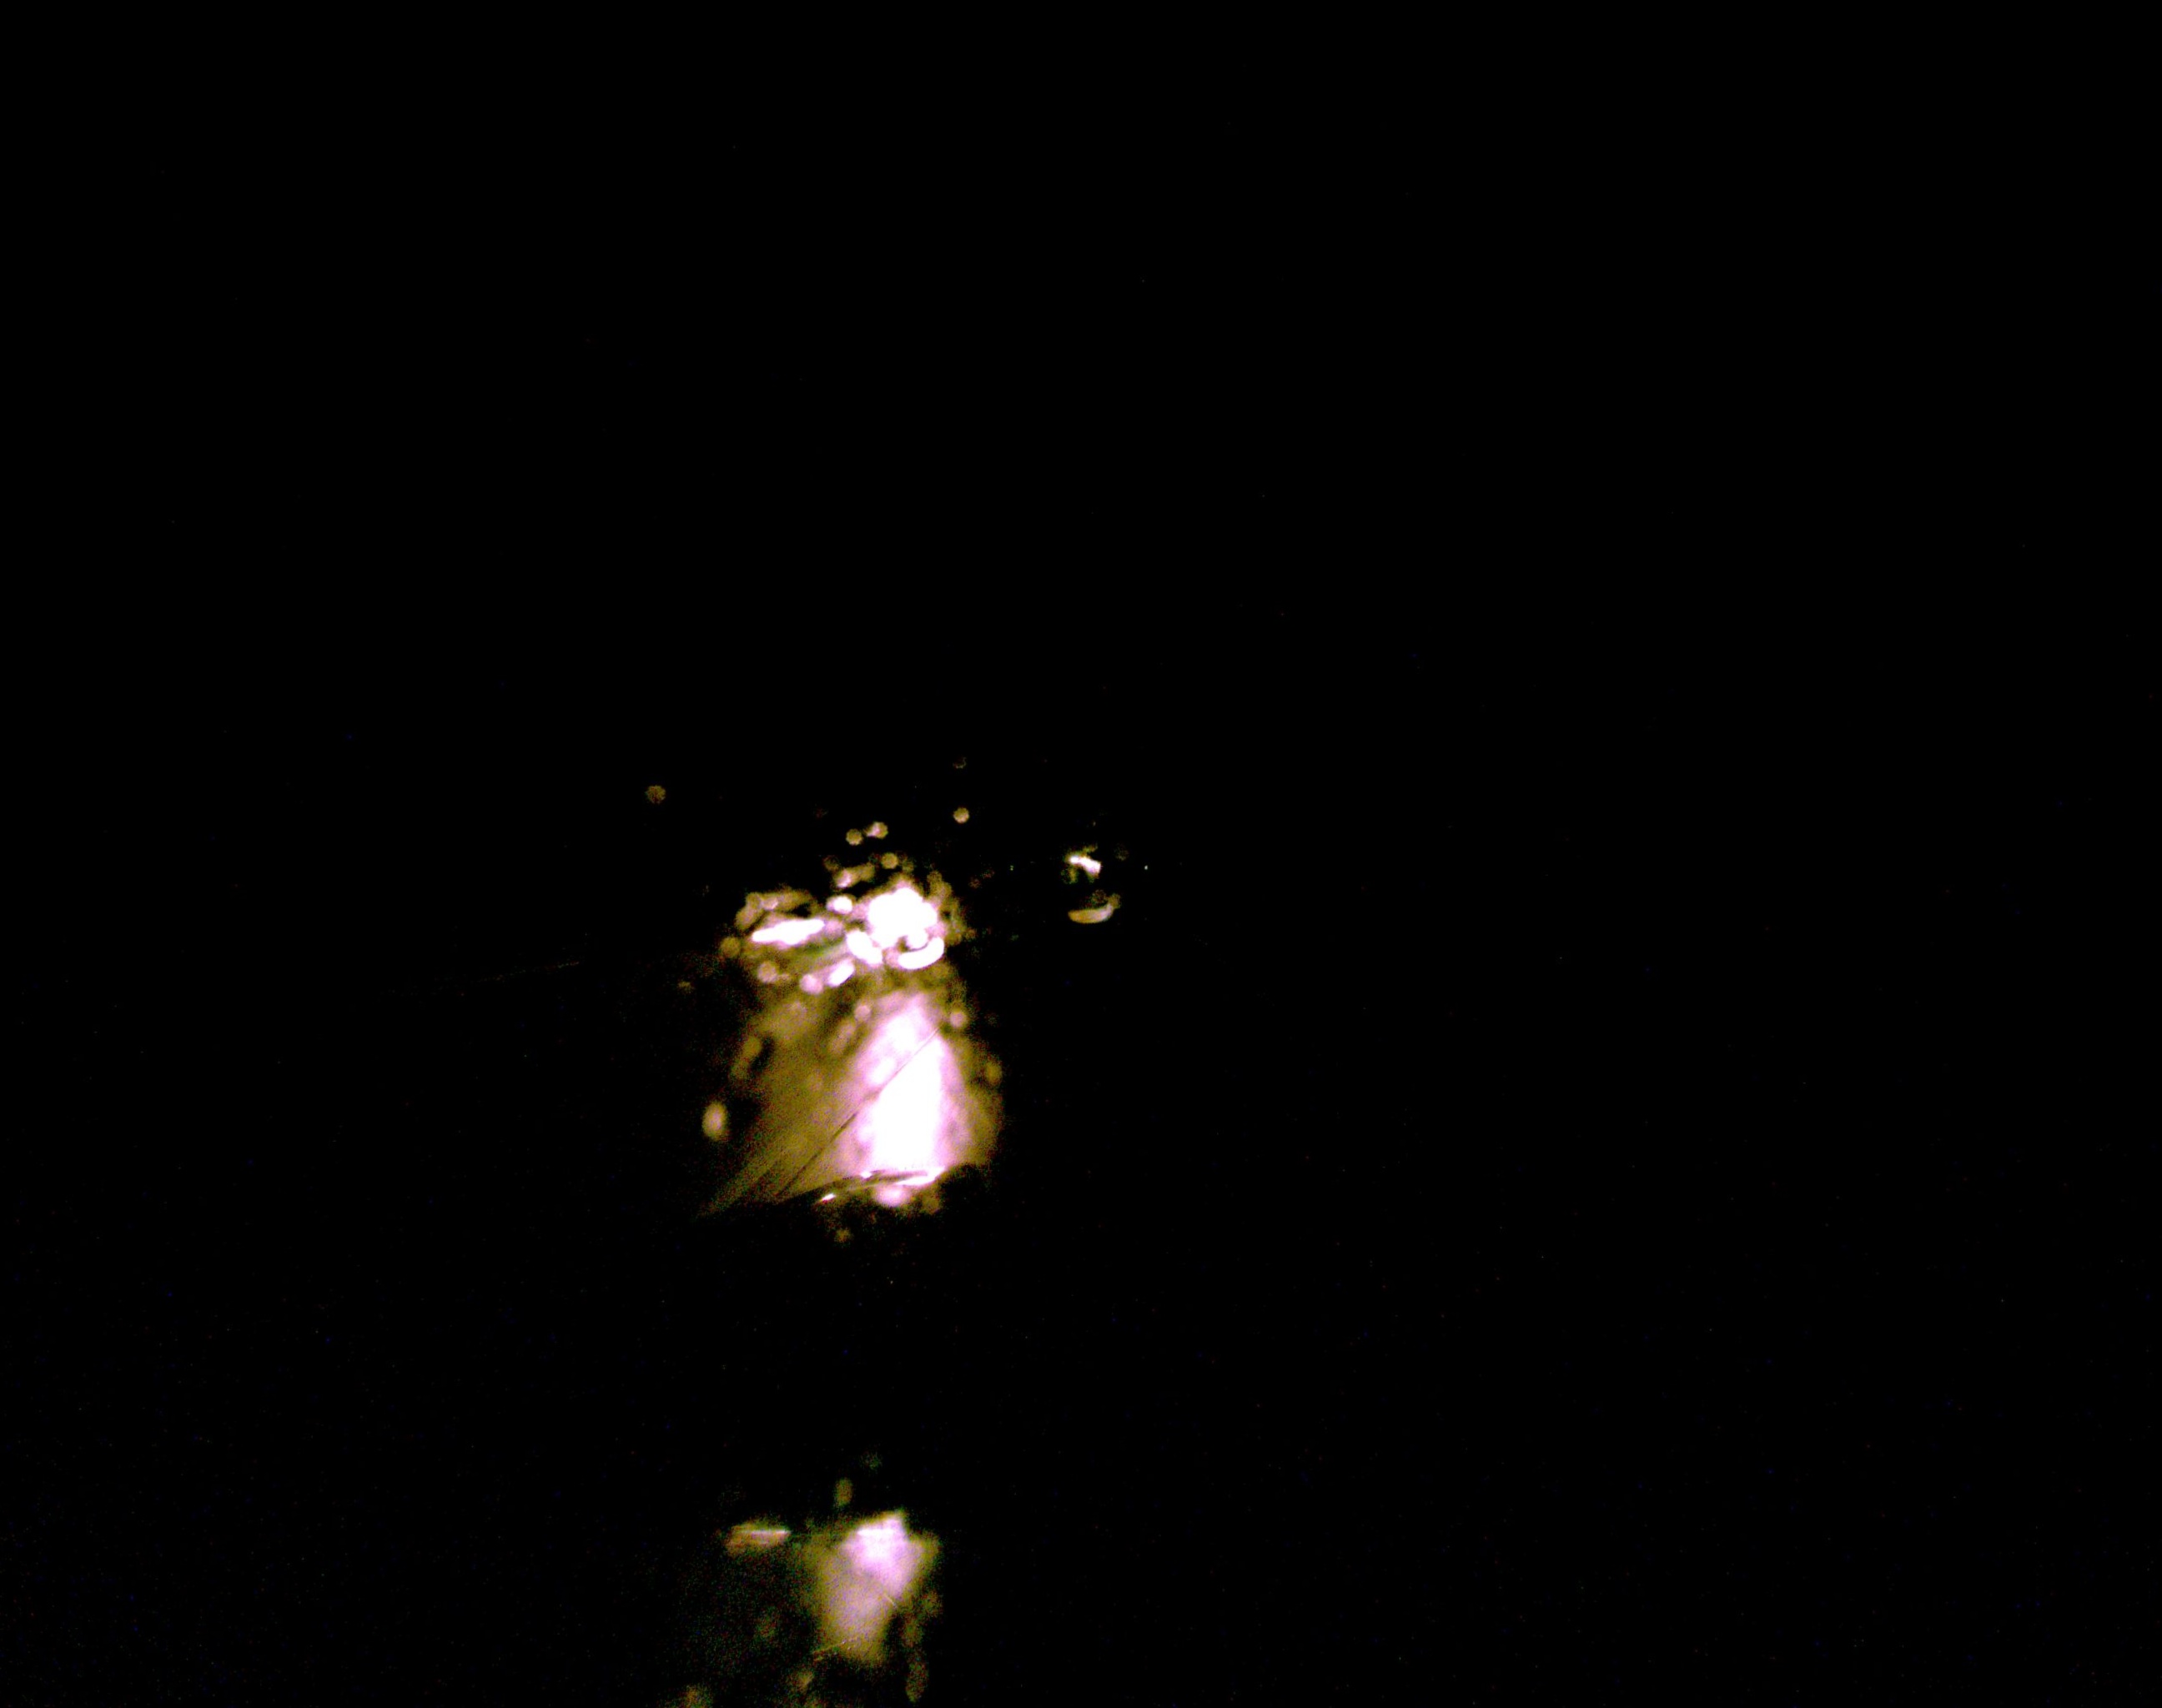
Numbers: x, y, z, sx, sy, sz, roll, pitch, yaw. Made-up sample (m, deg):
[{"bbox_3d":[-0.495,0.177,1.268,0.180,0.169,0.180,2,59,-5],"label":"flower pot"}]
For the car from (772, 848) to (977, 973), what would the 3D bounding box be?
[{"bbox_3d":[-2.886,0.739,12.503,1.827,1.545,4.647,-1,-1,2],"label":"car"}]
